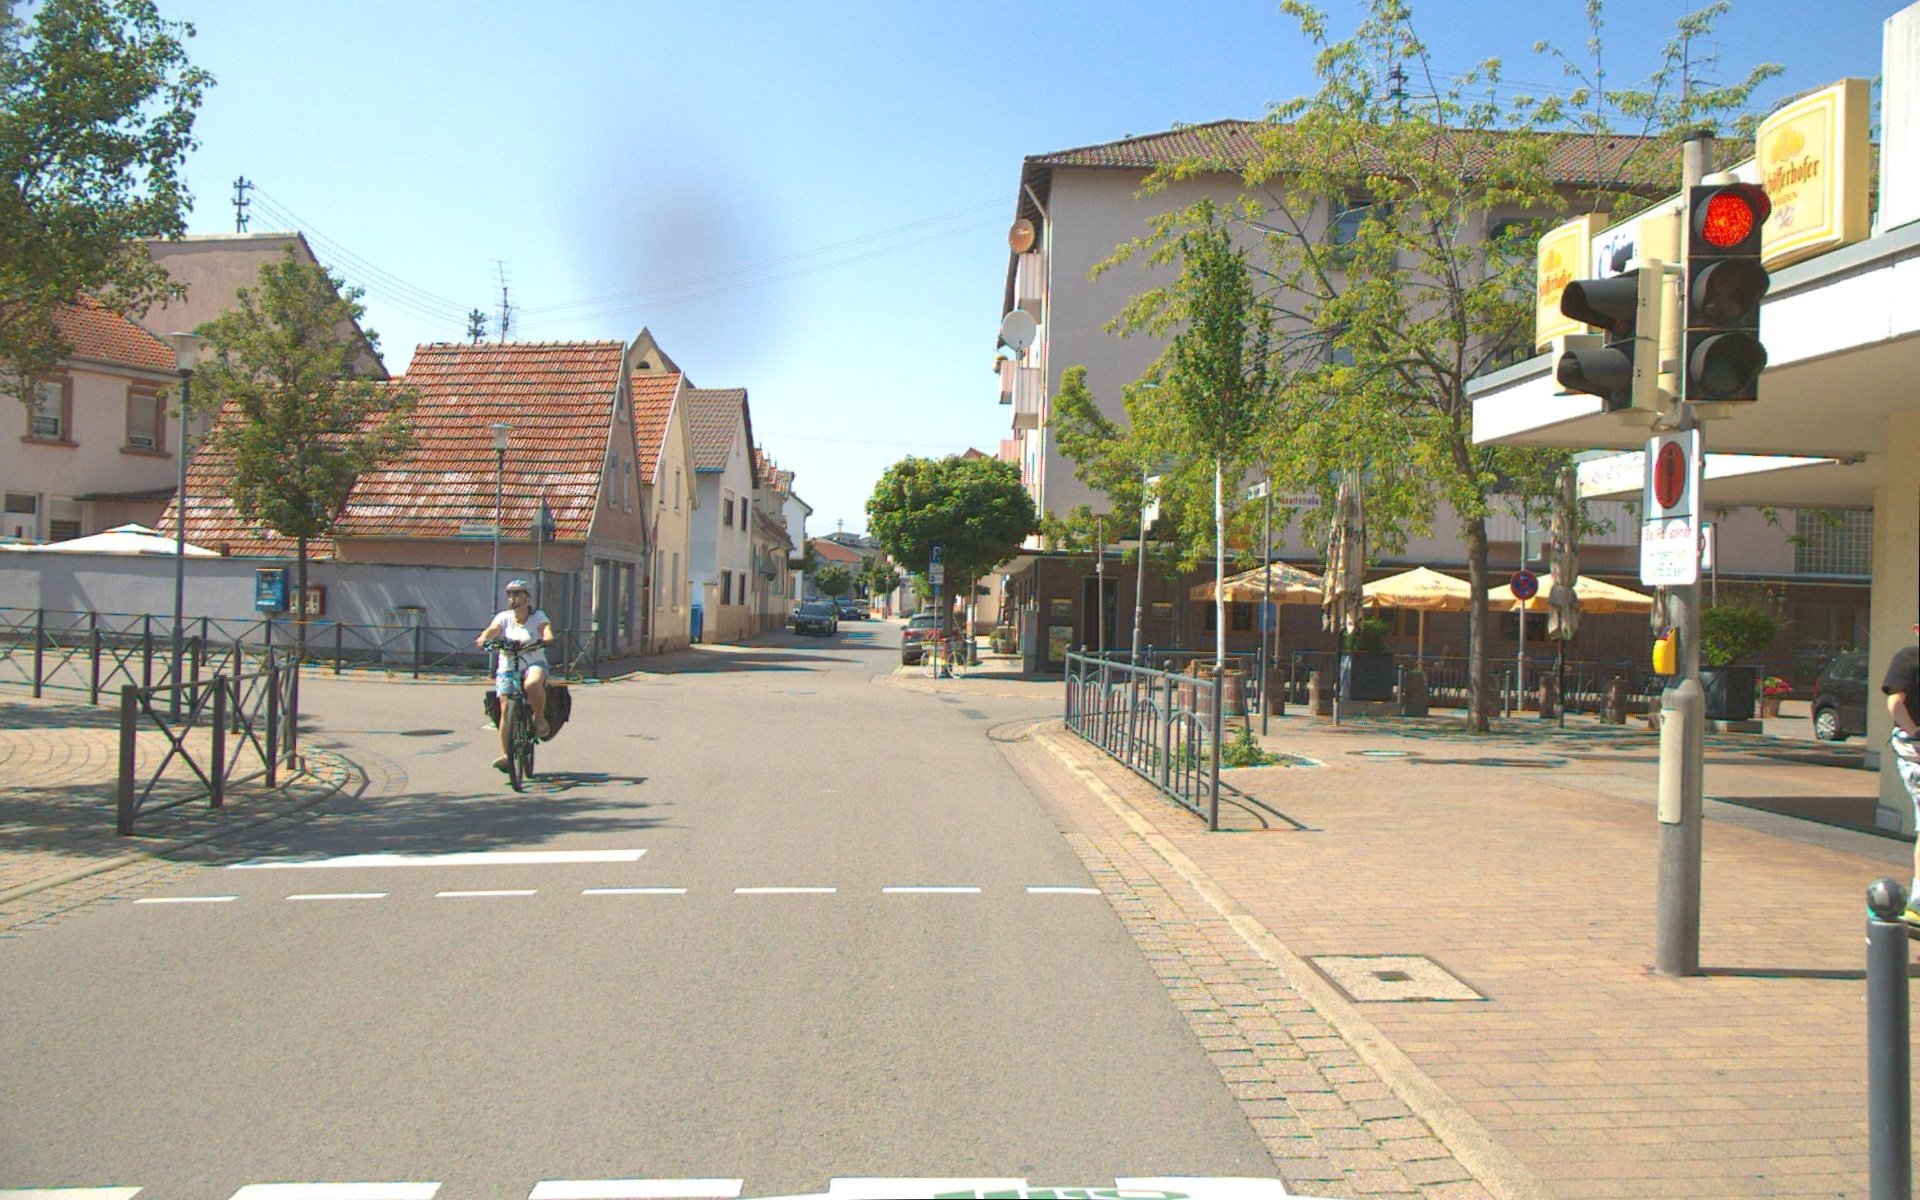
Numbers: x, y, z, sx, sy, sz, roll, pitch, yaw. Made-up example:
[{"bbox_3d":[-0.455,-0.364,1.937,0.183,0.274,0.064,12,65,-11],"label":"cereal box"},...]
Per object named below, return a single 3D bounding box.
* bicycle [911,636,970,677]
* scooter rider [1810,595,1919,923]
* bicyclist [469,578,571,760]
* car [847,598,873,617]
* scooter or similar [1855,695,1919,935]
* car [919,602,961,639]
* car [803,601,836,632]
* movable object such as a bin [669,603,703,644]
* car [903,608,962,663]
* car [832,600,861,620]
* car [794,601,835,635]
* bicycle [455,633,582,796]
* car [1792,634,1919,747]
[{"bbox_3d":[-0.462,1.318,38.542,1.386,0.913,0.463,0,0,36],"label":"bicycle"},{"bbox_3d":[4.188,0.660,7.129,0.452,1.348,1.133,1,0,0],"label":"scooter rider"},{"bbox_3d":[-3.808,0.583,14.383,0.700,1.533,0.870,0,0,-4],"label":"bicyclist"},{"bbox_3d":[-8.794,0.672,145.166,1.988,1.626,4.503,1,0,-6],"label":"car"},{"bbox_3d":[4.254,0.924,7.008,0.402,0.982,0.960,1,0,1],"label":"scooter or similar"},{"bbox_3d":[-0.986,0.997,81.025,2.001,1.718,4.840,1,0,-1],"label":"car"},{"bbox_3d":[-7.173,0.832,84.620,1.630,1.502,3.447,1,0,-5],"label":"car"},{"bbox_3d":[-9.371,0.806,56.612,1.078,1.389,0.390,1,-1,3],"label":"movable object such as a bin"},{"bbox_3d":[-0.749,0.988,47.161,1.543,1.479,3.486,1,-1,1],"label":"car"},{"bbox_3d":[-9.198,0.821,133.817,1.874,1.507,4.832,1,-1,-10],"label":"car"},{"bbox_3d":[-6.851,0.841,78.071,1.629,1.502,4.133,1,0,-1],"label":"car"},{"bbox_3d":[-3.808,0.948,14.411,0.694,1.274,1.970,-1,0,-4],"label":"bicycle"},{"bbox_3d":[14.056,1.307,23.892,1.733,1.536,3.965,2,-1,-7],"label":"car"}]
